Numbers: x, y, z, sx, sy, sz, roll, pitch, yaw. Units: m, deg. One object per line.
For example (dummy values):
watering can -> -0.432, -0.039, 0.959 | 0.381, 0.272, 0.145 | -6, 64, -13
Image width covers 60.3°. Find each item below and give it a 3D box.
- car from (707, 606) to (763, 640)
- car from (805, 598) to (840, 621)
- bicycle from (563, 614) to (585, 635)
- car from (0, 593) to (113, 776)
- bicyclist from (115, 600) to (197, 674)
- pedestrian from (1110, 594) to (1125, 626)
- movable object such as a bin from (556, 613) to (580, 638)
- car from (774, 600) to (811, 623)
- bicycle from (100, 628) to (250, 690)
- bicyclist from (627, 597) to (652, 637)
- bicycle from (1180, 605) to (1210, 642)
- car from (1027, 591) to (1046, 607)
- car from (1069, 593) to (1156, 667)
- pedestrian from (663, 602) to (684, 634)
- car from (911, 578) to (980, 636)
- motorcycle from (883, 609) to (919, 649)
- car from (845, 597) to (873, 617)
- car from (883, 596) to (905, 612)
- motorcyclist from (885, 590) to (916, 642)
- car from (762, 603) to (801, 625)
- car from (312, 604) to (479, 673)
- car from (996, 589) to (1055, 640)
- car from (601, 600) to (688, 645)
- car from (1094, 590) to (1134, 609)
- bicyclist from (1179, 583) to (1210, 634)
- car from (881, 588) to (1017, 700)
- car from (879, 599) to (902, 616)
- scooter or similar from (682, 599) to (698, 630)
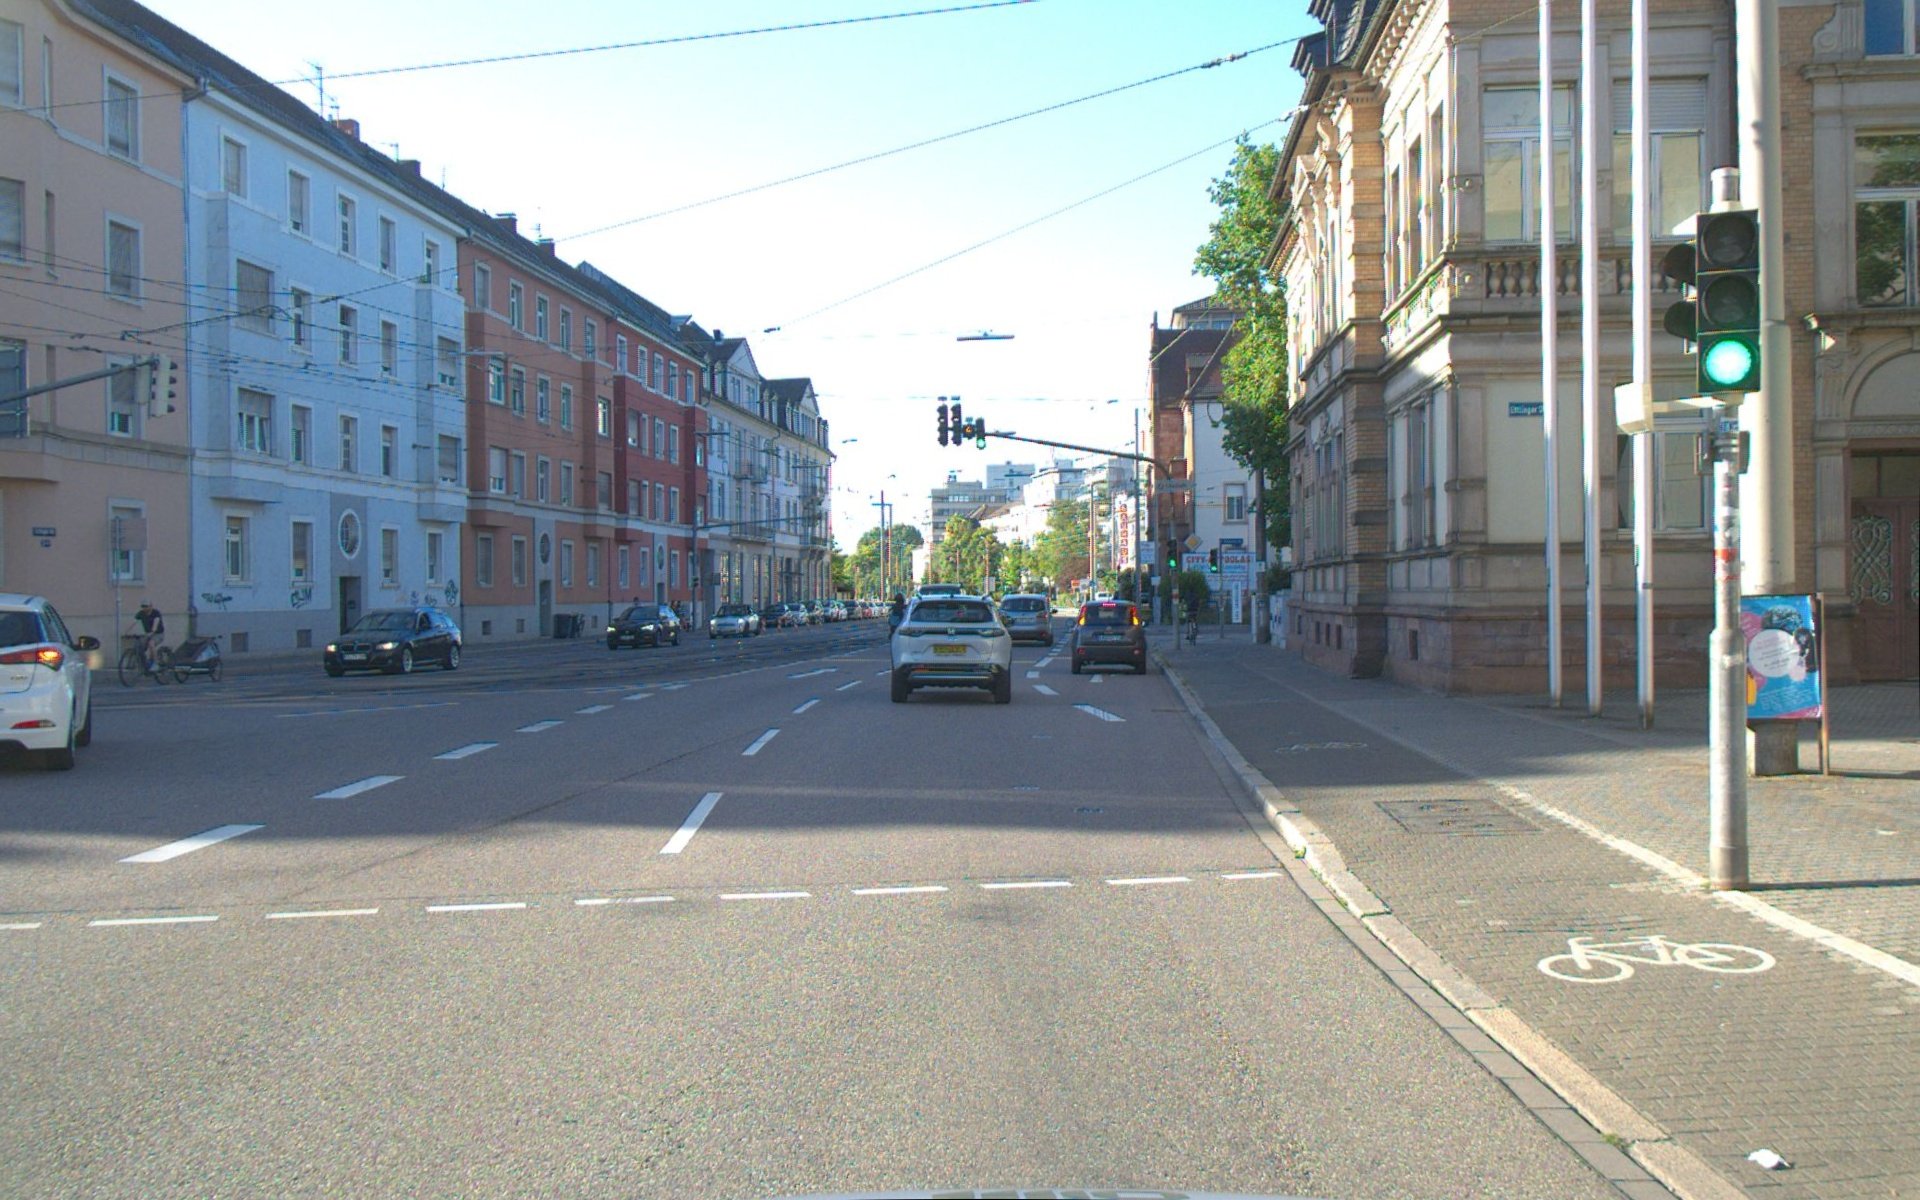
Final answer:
car -> -9.717, 0.975, 71.524 | 1.690, 1.399, 3.536 | -1, 0, 4
car -> -10.049, 0.686, 121.046 | 1.796, 1.579, 4.277 | -1, 0, 5
bicycle -> -16.941, 1.076, 72.627 | 0.327, 0.906, 1.606 | -1, 0, 9
car -> -8.574, 0.670, 14.600 | 1.764, 1.418, 4.073 | -1, 0, -25
bicyclist -> -15.565, 0.706, 32.055 | 0.914, 1.406, 1.149 | -1, 0, 10
pedestrian -> 9.295, 0.591, 97.362 | 0.857, 1.856, 1.185 | 0, 0, 6
movable object such as a bin -> -16.860, 1.085, 71.182 | 0.825, 1.059, 0.811 | -1, 0, 1
car -> -11.023, 0.751, 109.353 | 1.683, 1.477, 4.003 | -1, 0, 5
bicycle -> -15.446, 1.139, 32.699 | 0.914, 1.074, 3.357 | -1, 0, 10
bicyclist -> -13.451, 0.716, 69.388 | 0.730, 1.671, 1.126 | -1, 0, 5
bicycle -> 7.177, 0.708, 50.568 | 0.754, 1.105, 1.872 | -1, 0, 4
car -> 8.539, -0.134, 184.403 | 1.952, 1.691, 4.499 | 0, 0, 4
car -> 3.383, 0.615, 36.141 | 1.694, 1.527, 4.003 | 0, 0, 8
pedestrian -> -15.095, 0.923, 87.100 | 0.821, 1.662, 0.786 | 0, 0, -33
car -> -0.502, 0.247, 61.900 | 2.126, 2.044, 4.811 | -1, 0, 5
motorcycle -> -1.692, 0.830, 47.639 | 0.761, 1.101, 2.282 | -1, 0, 5
car -> -8.346, 0.555, 137.298 | 1.683, 1.579, 4.003 | -1, 0, 5
car -> -6.640, 0.404, 167.013 | 1.683, 1.579, 4.003 | -1, 0, 5
motorcyclist -> -1.713, 0.454, 47.494 | 0.761, 1.448, 0.892 | -1, 0, 5
car -> -11.160, 0.862, 103.755 | 1.683, 1.254, 4.003 | -1, 0, 5
car -> -12.605, 0.813, 37.252 | 1.952, 1.416, 4.563 | -1, 0, 3
car -> 2.186, 0.458, 54.238 | 1.776, 1.610, 4.002 | -1, 0, 4
car -> -11.028, 0.762, 58.127 | 1.881, 1.481, 4.500 | -1, 0, 5
car -> 17.468, -0.033, 187.607 | 4.174, 2.049, 1.998 | 0, 0, -4
bicyclist -> 7.186, 0.267, 50.645 | 0.816, 1.552, 0.994 | 0, 0, 15
car -> -0.116, 0.607, 25.285 | 1.907, 1.555, 4.090 | 0, 0, 1
car -> -6.773, 0.696, 160.983 | 1.683, 1.579, 4.003 | -1, 0, 5
scooter or similar -> -14.521, 0.775, 88.824 | 0.645, 1.662, 0.788 | 0, 0, -27
